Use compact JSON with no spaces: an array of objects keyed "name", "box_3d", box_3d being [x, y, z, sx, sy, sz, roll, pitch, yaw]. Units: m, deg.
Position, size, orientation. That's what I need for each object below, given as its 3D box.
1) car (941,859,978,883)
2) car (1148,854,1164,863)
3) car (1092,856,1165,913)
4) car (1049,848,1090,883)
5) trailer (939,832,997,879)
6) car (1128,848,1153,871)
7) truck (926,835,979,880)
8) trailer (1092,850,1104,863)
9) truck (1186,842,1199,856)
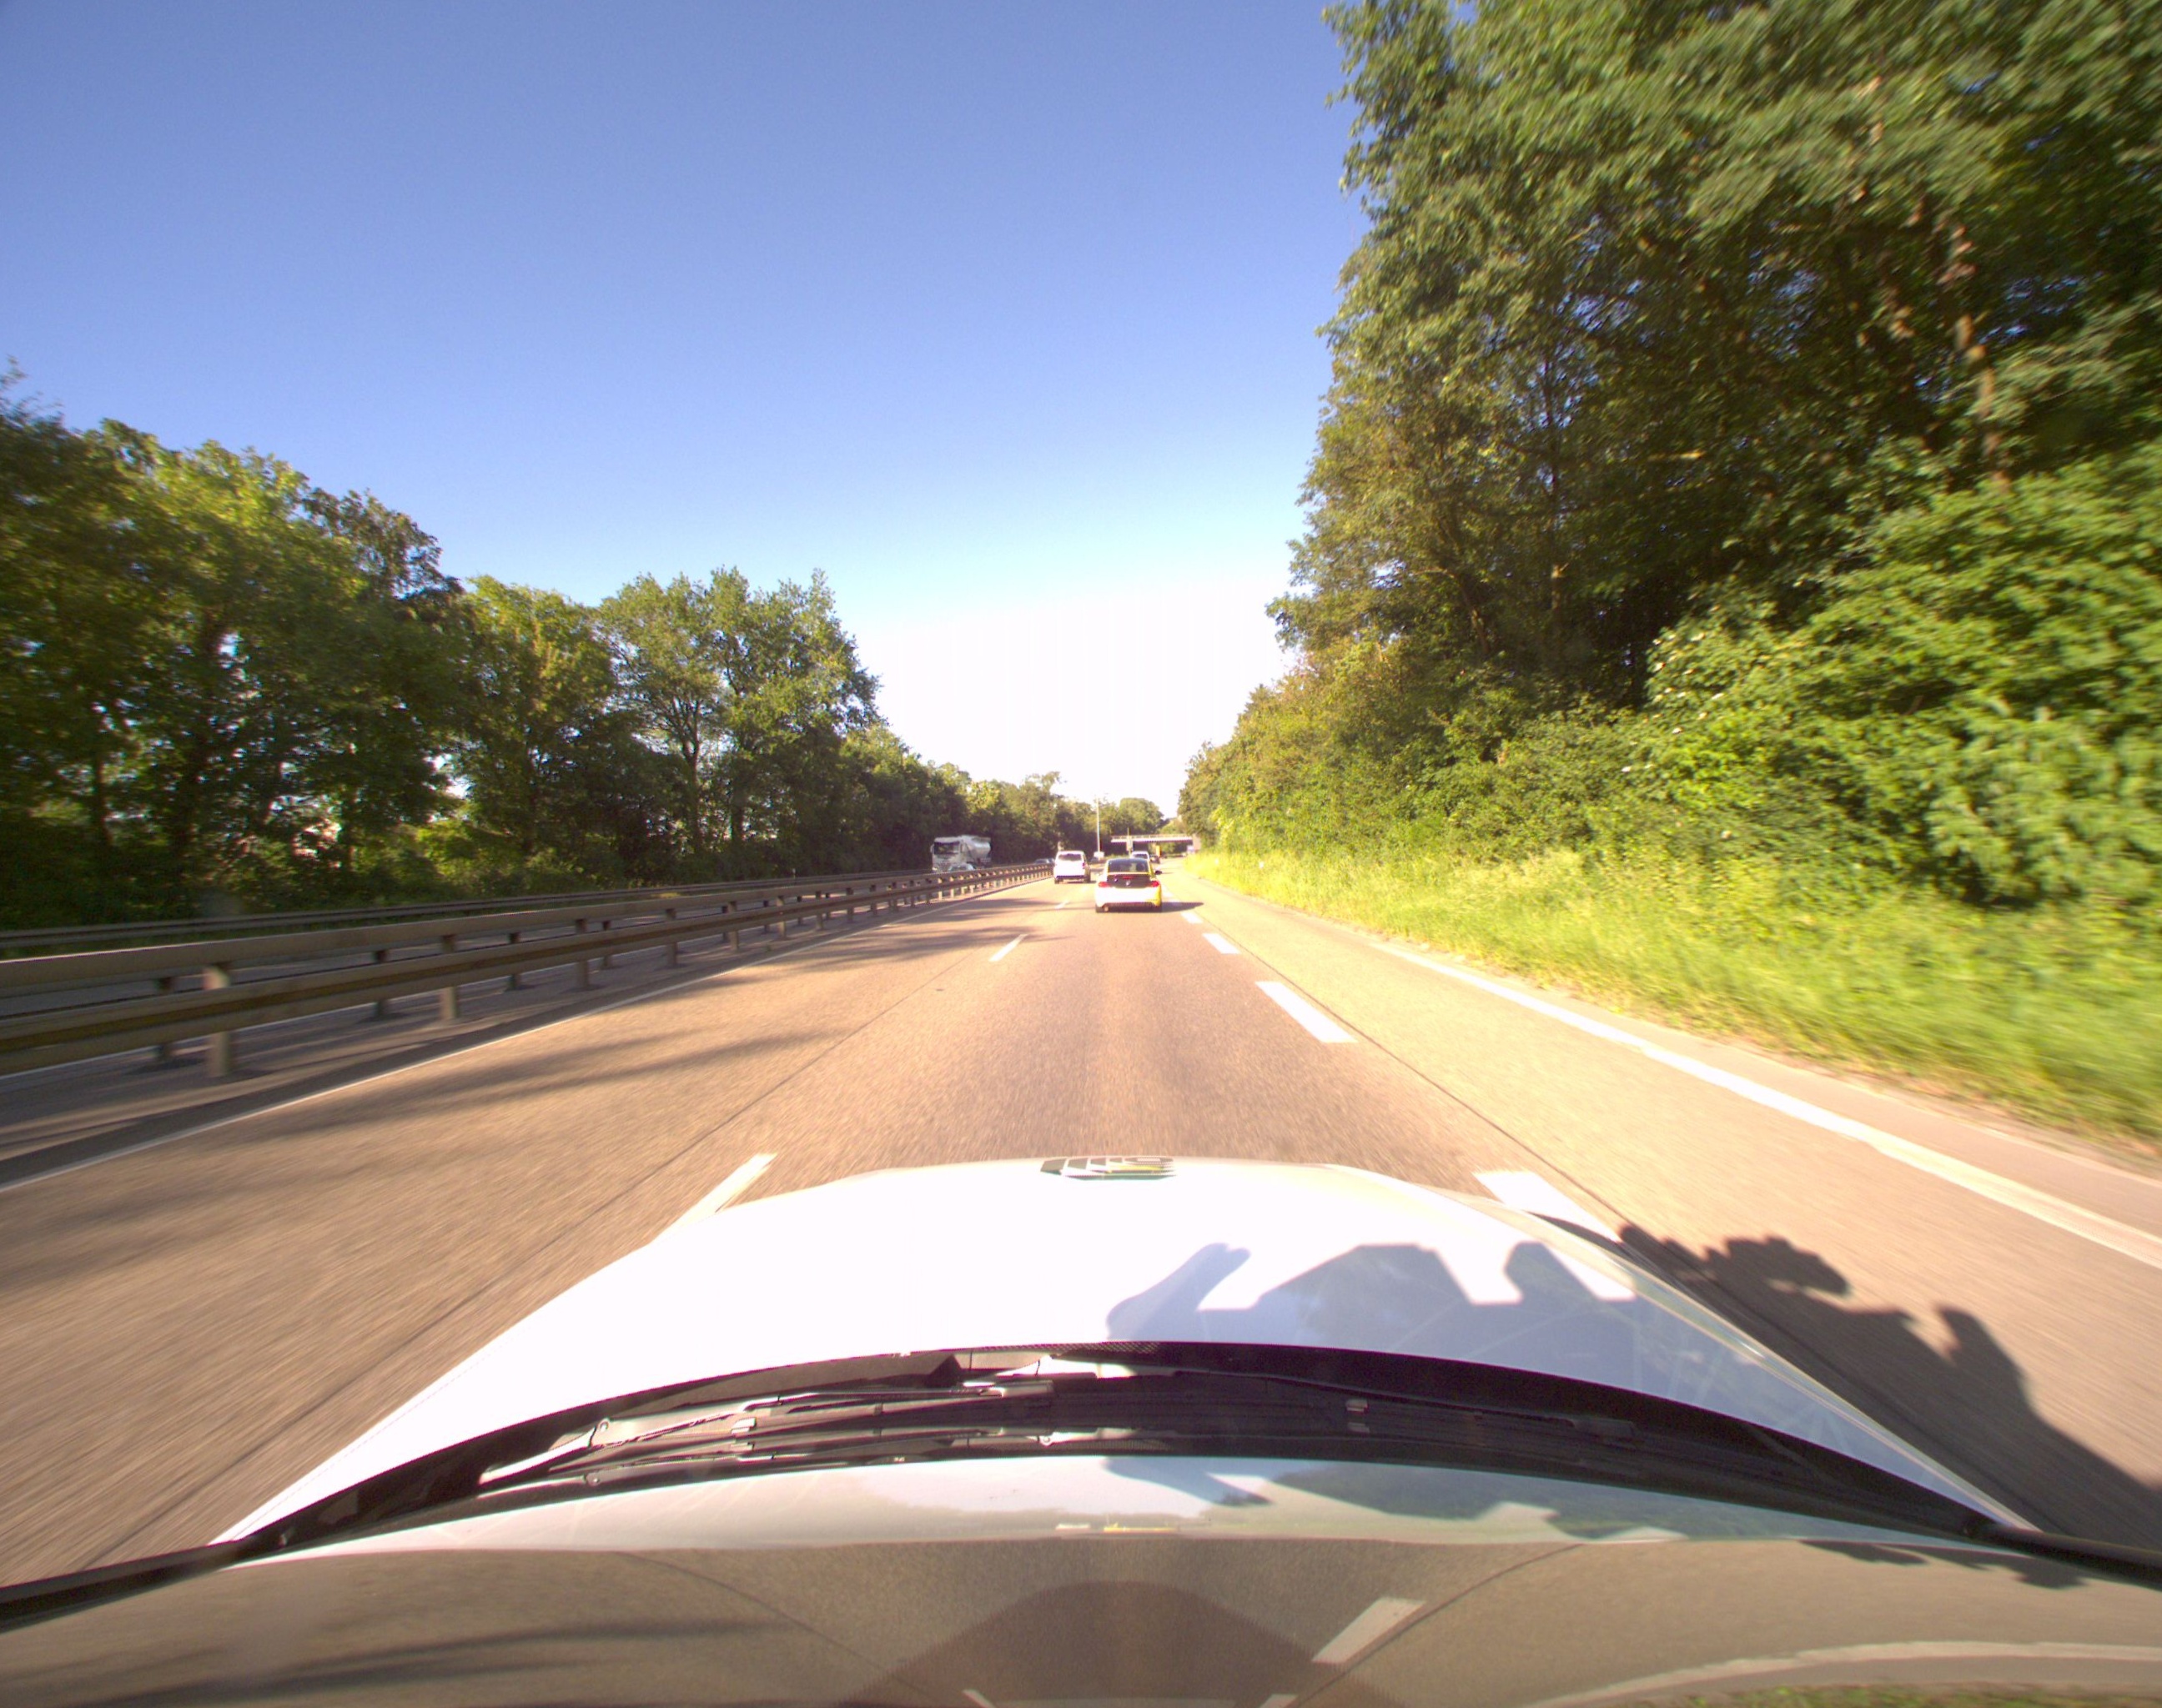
[{"name":"car","box_3d":[-8.179,1.126,55.173,1.659,1.467,4.094,-2,0,2]},{"name":"car","box_3d":[11.967,0.743,129.368,1.980,1.398,4.013,-1,0,12]},{"name":"car","box_3d":[1.284,0.789,23.224,1.873,1.461,4.357,0,0,1]},{"name":"car","box_3d":[-0.578,0.615,45.738,2.078,1.828,4.001,-2,0,1]},{"name":"trailer","box_3d":[-10.612,0.120,77.812,3.038,3.997,10.986,-2,0,4]},{"name":"car","box_3d":[4.841,0.442,65.868,1.854,1.770,4.476,-2,0,5]},{"name":"truck","box_3d":[-11.111,0.308,71.000,2.967,3.630,6.164,-2,0,5]},{"name":"trailer","box_3d":[3.228,0.409,156.288,1.985,2.437,4.610,-2,0,3]},{"name":"truck","box_3d":[35.824,-1.516,261.580,3.473,4.173,8.890,-2,0,12]}]
